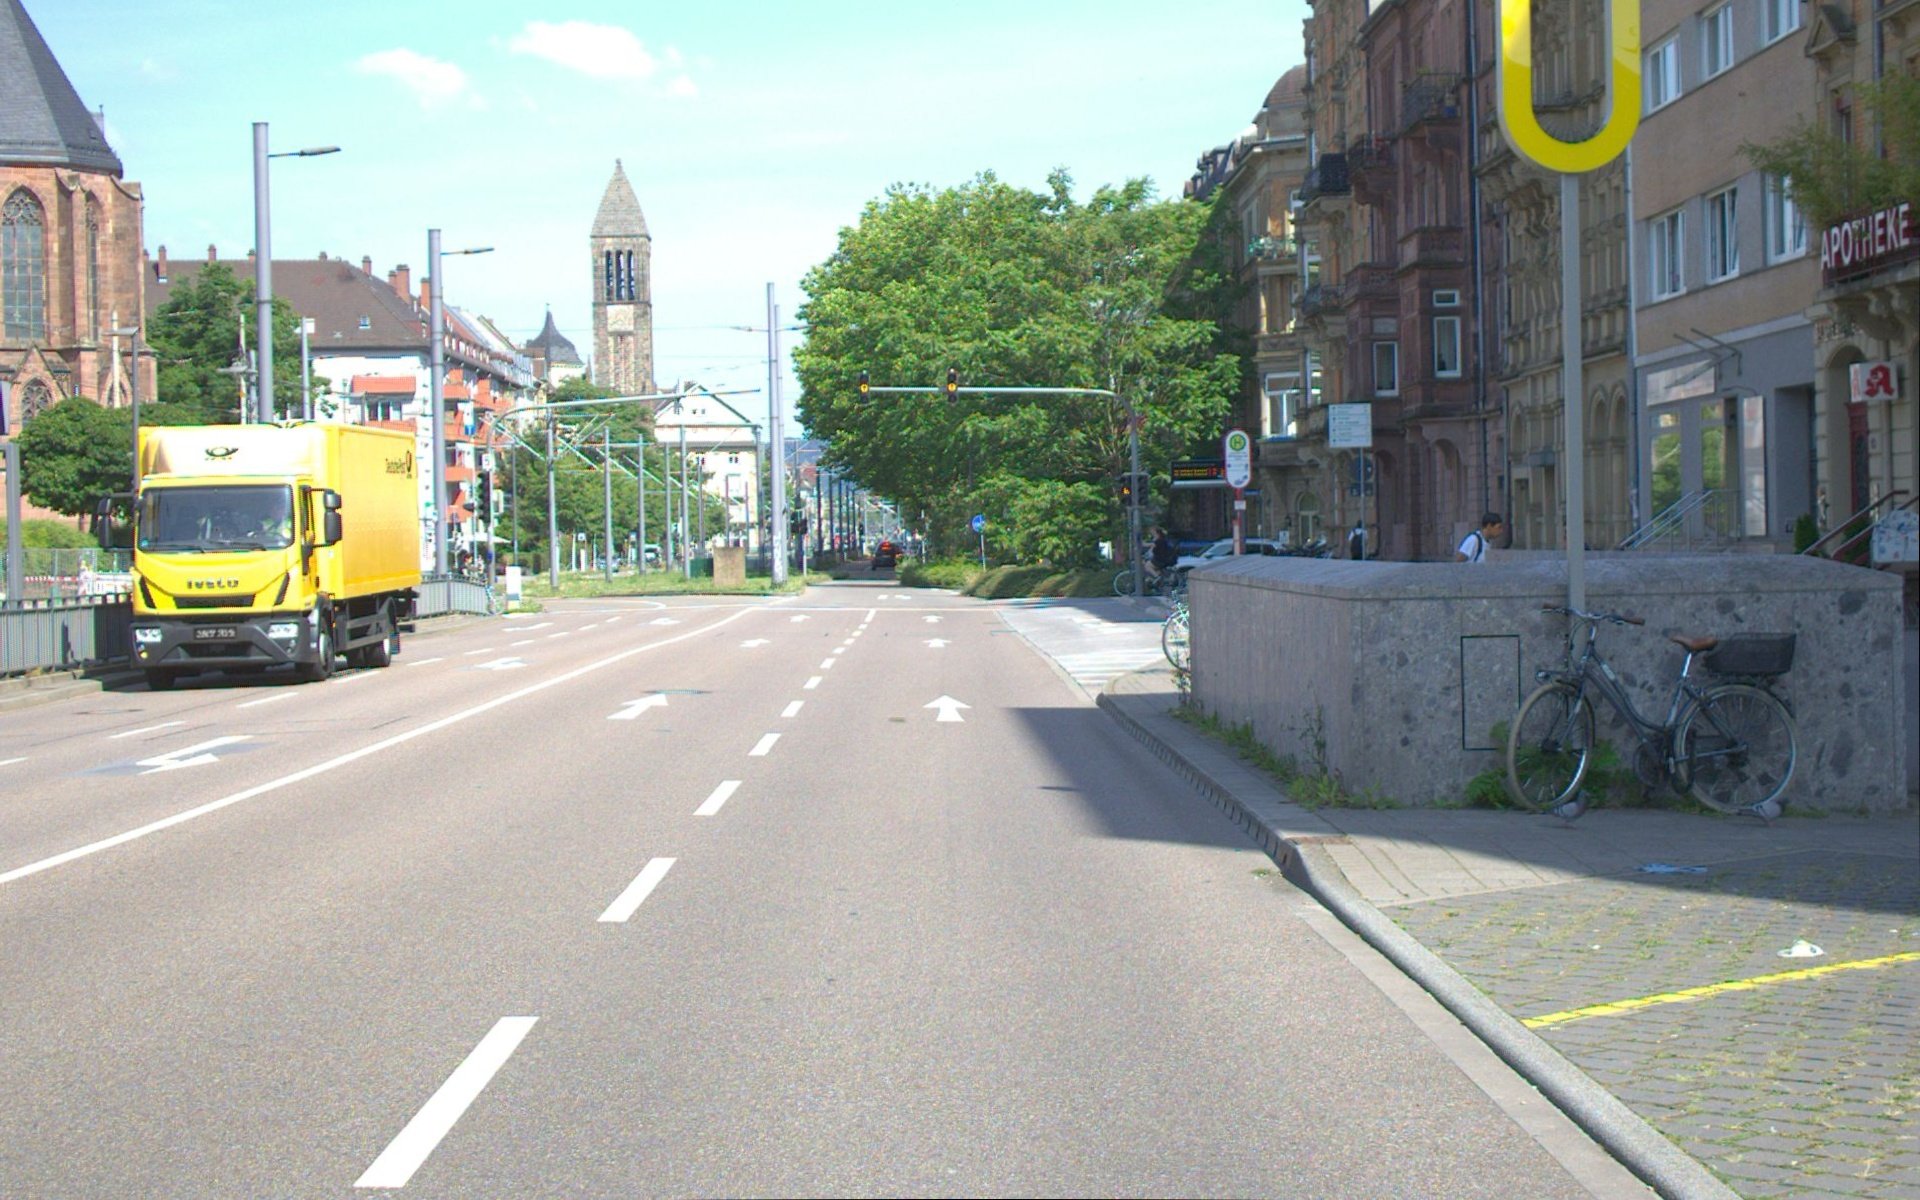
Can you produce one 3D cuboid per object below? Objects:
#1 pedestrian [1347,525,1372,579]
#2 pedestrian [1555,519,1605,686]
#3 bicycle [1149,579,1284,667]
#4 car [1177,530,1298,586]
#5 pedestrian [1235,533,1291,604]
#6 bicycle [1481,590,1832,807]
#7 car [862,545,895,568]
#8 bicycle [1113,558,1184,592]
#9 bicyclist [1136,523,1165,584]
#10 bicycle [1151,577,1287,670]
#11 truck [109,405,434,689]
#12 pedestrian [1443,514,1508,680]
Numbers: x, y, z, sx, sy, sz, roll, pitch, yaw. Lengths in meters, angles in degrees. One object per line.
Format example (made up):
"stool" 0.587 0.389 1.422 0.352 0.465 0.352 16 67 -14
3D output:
"pedestrian" 10.615 -1.283 91.352 0.532 1.402 0.491 -1 3 -6
"pedestrian" 6.264 0.020 34.748 0.371 1.660 0.525 -1 1 0
"bicycle" 2.864 0.256 38.483 1.460 0.943 0.415 -1 0 0
"car" 9.498 -1.448 117.876 3.987 1.743 2.000 -1 3 1
"pedestrian" 5.792 -0.603 65.713 0.947 1.320 0.823 -1 1 -3
"bicycle" 3.713 0.517 18.398 1.742 1.090 0.597 -1 2 0
"car" -5.084 -2.725 212.963 1.899 1.371 3.816 -1 1 -3
"bicycle" 4.994 -0.659 90.964 1.818 0.860 0.483 -1 3 -15
"bicyclist" 5.039 -1.238 90.953 0.639 1.586 0.483 -1 3 -15
"bicycle" 2.863 0.253 38.036 1.460 0.972 0.415 -1 3 0
"truck" -9.046 -0.712 46.235 2.543 3.287 9.029 -3 1 -1
"pedestrian" 5.235 -0.037 34.906 0.553 1.660 0.525 -1 1 0
